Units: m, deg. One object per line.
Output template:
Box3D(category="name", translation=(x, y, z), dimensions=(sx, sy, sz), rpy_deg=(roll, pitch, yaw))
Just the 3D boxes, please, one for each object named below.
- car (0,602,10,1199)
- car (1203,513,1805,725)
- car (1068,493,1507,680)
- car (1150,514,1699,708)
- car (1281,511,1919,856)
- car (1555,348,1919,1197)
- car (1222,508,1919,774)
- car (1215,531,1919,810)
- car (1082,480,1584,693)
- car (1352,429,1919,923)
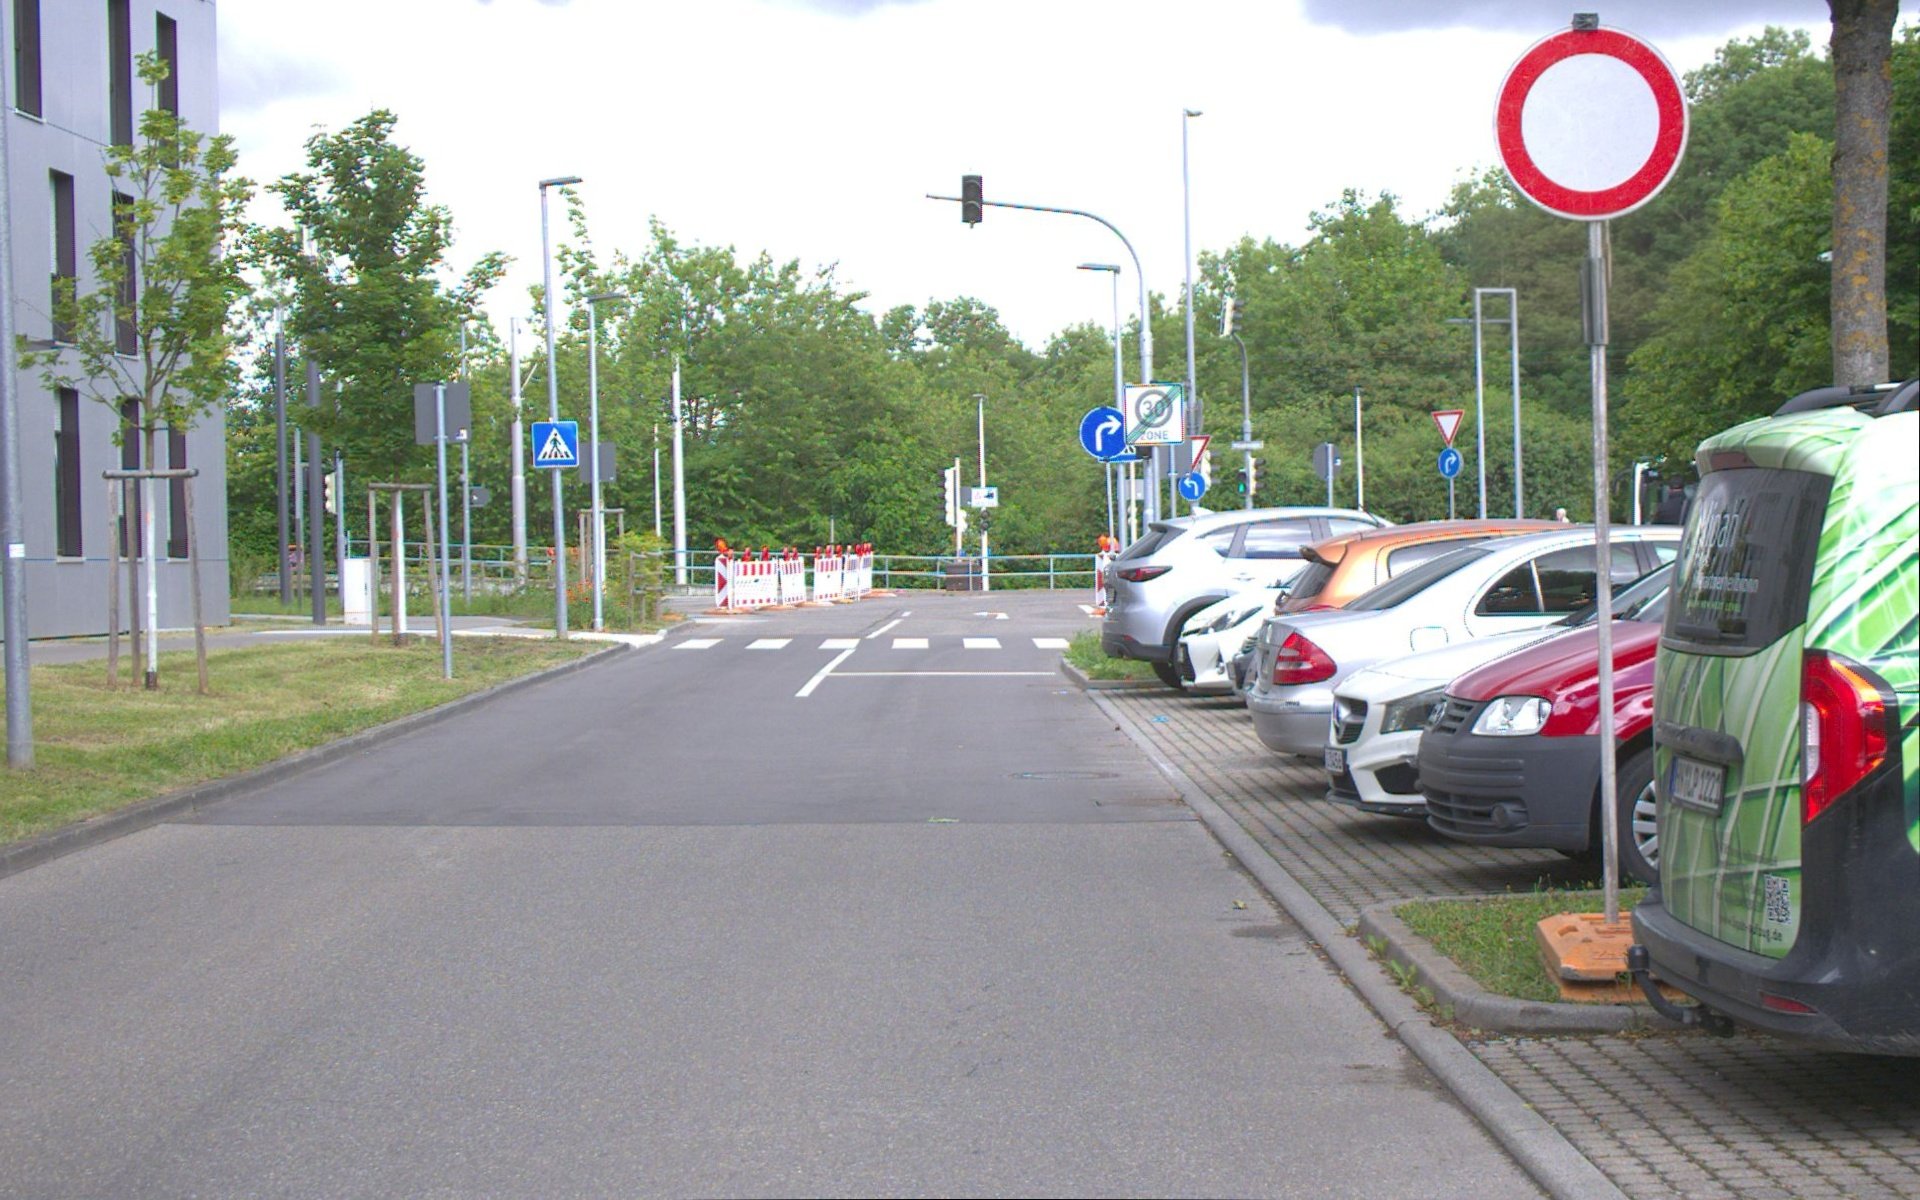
Box3D(category="car", translation=(-2.661, 0.737, 4.860), dimensions=(1.609, 1.383, 4.000), rpy_deg=(0, 1, -1))
Box3D(category="car", translation=(4.189, 0.117, 26.971), dimensions=(4.378, 1.576, 1.917), rpy_deg=(0, 2, -2))
Box3D(category="car", translation=(3.383, -0.168, 36.156), dimensions=(4.378, 1.897, 1.917), rpy_deg=(0, 2, -2))
Box3D(category="car", translation=(3.892, 0.064, 29.353), dimensions=(4.378, 1.576, 1.917), rpy_deg=(0, 2, -2))
Box3D(category="car", translation=(3.869, 0.363, 16.721), dimensions=(4.378, 1.568, 1.916), rpy_deg=(0, 1, -2))
Box3D(category="car", translation=(3.930, 0.269, 8.767), dimensions=(4.378, 1.897, 1.917), rpy_deg=(-3, 2, -2))
Box3D(category="car", translation=(3.972, 0.224, 22.071), dimensions=(4.378, 1.612, 1.917), rpy_deg=(0, 2, -2))
Box3D(category="car", translation=(3.736, 0.357, 19.510), dimensions=(4.378, 1.470, 1.917), rpy_deg=(0, 2, -2))
Box3D(category="car", translation=(3.383, -0.154, 31.794), dimensions=(4.378, 1.897, 1.917), rpy_deg=(0, 2, -2))
Box3D(category="car", translation=(3.954, 0.260, 14.257), dimensions=(4.378, 1.897, 1.937), rpy_deg=(0, 2, -2))
